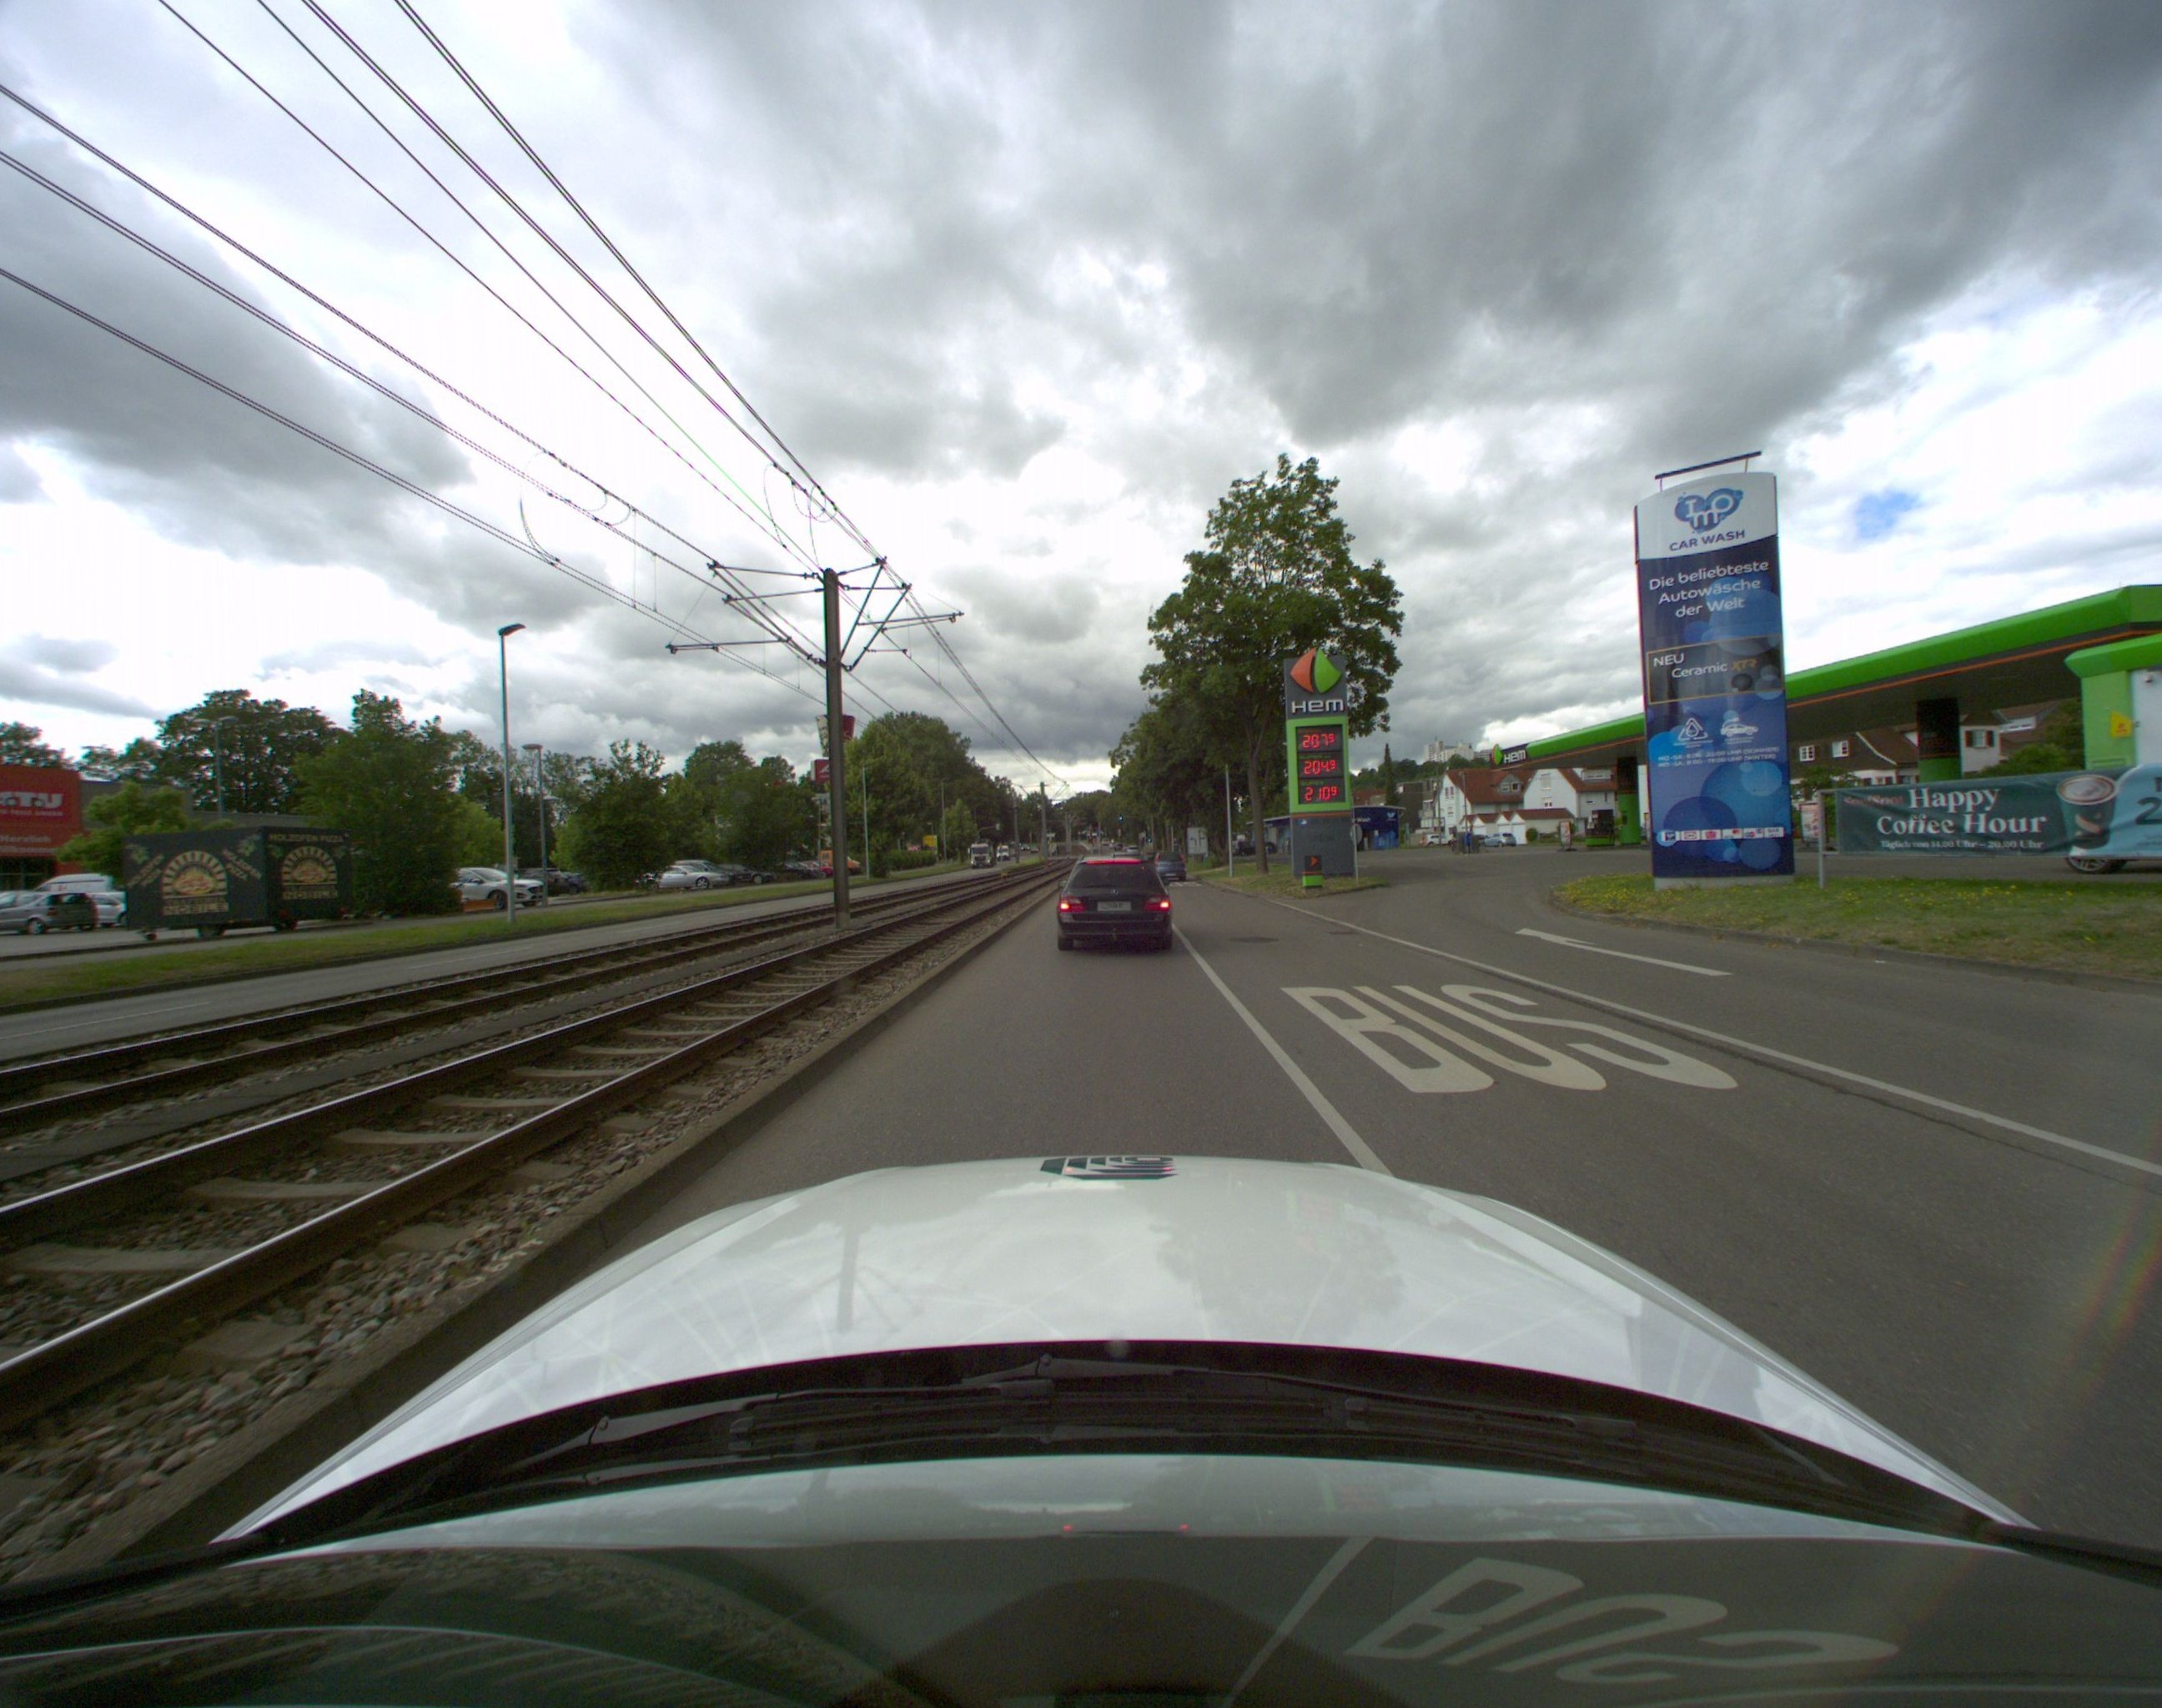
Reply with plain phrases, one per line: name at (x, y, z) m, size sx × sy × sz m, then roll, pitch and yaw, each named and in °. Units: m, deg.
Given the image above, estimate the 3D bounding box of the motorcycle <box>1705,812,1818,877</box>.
motorcycle at (15.061, -0.209, 18.114) m, size 0.852 × 1.331 × 1.991 m, roll -3°, pitch 0°, yaw 2°

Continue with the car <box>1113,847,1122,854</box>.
car at (7.910, -0.780, 175.235) m, size 1.662 × 1.532 × 3.768 m, roll -1°, pitch 0°, yaw -1°

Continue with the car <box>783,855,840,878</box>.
car at (-21.653, 0.997, 65.507) m, size 3.978 × 1.797 × 1.876 m, roll -1°, pitch 0°, yaw -3°

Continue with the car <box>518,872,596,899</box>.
car at (-33.305, 2.006, 51.821) m, size 3.736 × 1.472 × 1.677 m, roll -3°, pitch 0°, yaw -5°

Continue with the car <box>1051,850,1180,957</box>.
car at (0.561, 0.699, 13.530) m, size 1.801 × 1.474 × 3.883 m, roll -1°, pitch 0°, yaw 2°

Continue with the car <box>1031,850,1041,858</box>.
car at (-10.037, 0.000, 181.079) m, size 1.758 × 1.647 × 3.773 m, roll -1°, pitch 0°, yaw 2°

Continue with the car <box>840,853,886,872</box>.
car at (-21.270, 0.794, 79.454) m, size 3.978 × 1.599 × 1.795 m, roll -3°, pitch 0°, yaw -3°

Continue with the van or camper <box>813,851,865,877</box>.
van or camper at (-20.986, 0.824, 70.690) m, size 3.978 × 2.135 × 1.876 m, roll -1°, pitch 0°, yaw -3°

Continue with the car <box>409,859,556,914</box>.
car at (-22.466, 1.203, 30.708) m, size 3.978 × 1.797 × 1.876 m, roll -3°, pitch 0°, yaw -3°

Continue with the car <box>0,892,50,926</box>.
car at (-50.932, 2.632, 37.768) m, size 3.736 × 1.472 × 1.677 m, roll -3°, pitch 0°, yaw -5°

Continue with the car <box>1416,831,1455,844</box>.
car at (45.968, -2.137, 105.674) m, size 4.203 × 1.684 × 1.777 m, roll -1°, pitch 0°, yaw -1°

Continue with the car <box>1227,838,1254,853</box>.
car at (19.035, -1.056, 97.110) m, size 1.987 × 1.682 × 4.607 m, roll -3°, pitch 0°, yaw 26°

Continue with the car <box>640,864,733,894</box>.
car at (-21.960, 1.377, 45.465) m, size 4.293 × 1.472 × 1.680 m, roll -2°, pitch 0°, yaw -1°

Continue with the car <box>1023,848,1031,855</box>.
car at (-13.787, -0.661, 208.608) m, size 1.758 × 1.647 × 3.773 m, roll -1°, pitch 0°, yaw 2°

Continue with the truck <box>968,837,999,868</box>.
truck at (-12.604, -0.190, 106.501) m, size 2.698 × 3.663 × 11.107 m, roll -3°, pitch 0°, yaw -1°

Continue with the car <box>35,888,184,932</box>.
car at (-39.659, 2.275, 33.328) m, size 3.736 × 1.472 × 1.677 m, roll -3°, pitch 0°, yaw -5°

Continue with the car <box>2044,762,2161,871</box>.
car at (17.389, -0.641, 11.757) m, size 1.814 × 1.674 × 4.339 m, roll -4°, pitch -1°, yaw 2°

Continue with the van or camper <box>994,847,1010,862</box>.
van or camper at (-13.262, 0.084, 137.637) m, size 1.987 × 2.354 × 5.765 m, roll -3°, pitch 0°, yaw 0°

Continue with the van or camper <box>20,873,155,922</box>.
van or camper at (-49.917, 2.173, 40.987) m, size 4.252 × 2.145 × 1.820 m, roll -3°, pitch 0°, yaw -3°

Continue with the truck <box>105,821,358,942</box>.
truck at (-22.157, 0.673, 21.426) m, size 3.975 × 2.821 × 2.375 m, roll -3°, pitch 0°, yaw -1°

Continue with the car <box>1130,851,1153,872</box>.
car at (4.147, 0.521, 56.225) m, size 1.460 × 1.414 × 3.356 m, roll 0°, pitch 0°, yaw 2°

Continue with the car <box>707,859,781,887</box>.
car at (-21.878, 1.208, 52.983) m, size 3.978 × 1.599 × 1.876 m, roll -3°, pitch 0°, yaw -3°

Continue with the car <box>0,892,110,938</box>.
car at (-39.632, 2.324, 30.706) m, size 3.736 × 1.472 × 1.677 m, roll -3°, pitch 0°, yaw -5°

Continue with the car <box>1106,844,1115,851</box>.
car at (7.041, -1.551, 196.133) m, size 1.986 × 1.714 × 4.002 m, roll -2°, pitch 0°, yaw 2°

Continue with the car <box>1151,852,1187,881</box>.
car at (4.411, 0.607, 41.110) m, size 1.565 × 1.414 × 3.356 m, roll 0°, pitch 0°, yaw 2°

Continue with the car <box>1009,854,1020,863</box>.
car at (-13.347, 0.922, 162.890) m, size 1.758 × 1.647 × 3.773 m, roll -1°, pitch 0°, yaw 2°

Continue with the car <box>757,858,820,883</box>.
car at (-21.643, 1.189, 60.360) m, size 3.978 × 1.599 × 1.876 m, roll -3°, pitch 0°, yaw -3°

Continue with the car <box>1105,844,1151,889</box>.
car at (1.895, 0.504, 33.711) m, size 1.773 × 1.750 × 3.720 m, roll 0°, pitch 0°, yaw 2°

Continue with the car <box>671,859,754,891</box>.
car at (-21.647, 1.215, 47.950) m, size 3.978 × 1.635 × 1.876 m, roll -3°, pitch 0°, yaw -3°

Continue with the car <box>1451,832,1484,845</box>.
car at (42.604, -1.730, 89.895) m, size 1.581 × 1.394 × 3.406 m, roll -1°, pitch 0°, yaw -10°

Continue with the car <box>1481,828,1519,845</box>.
car at (43.471, -1.808, 84.507) m, size 1.533 × 1.599 × 3.724 m, roll -1°, pitch 0°, yaw -10°

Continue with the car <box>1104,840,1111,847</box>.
car at (7.151, -2.731, 218.930) m, size 1.986 × 1.838 × 4.002 m, roll -1°, pitch 0°, yaw 2°
